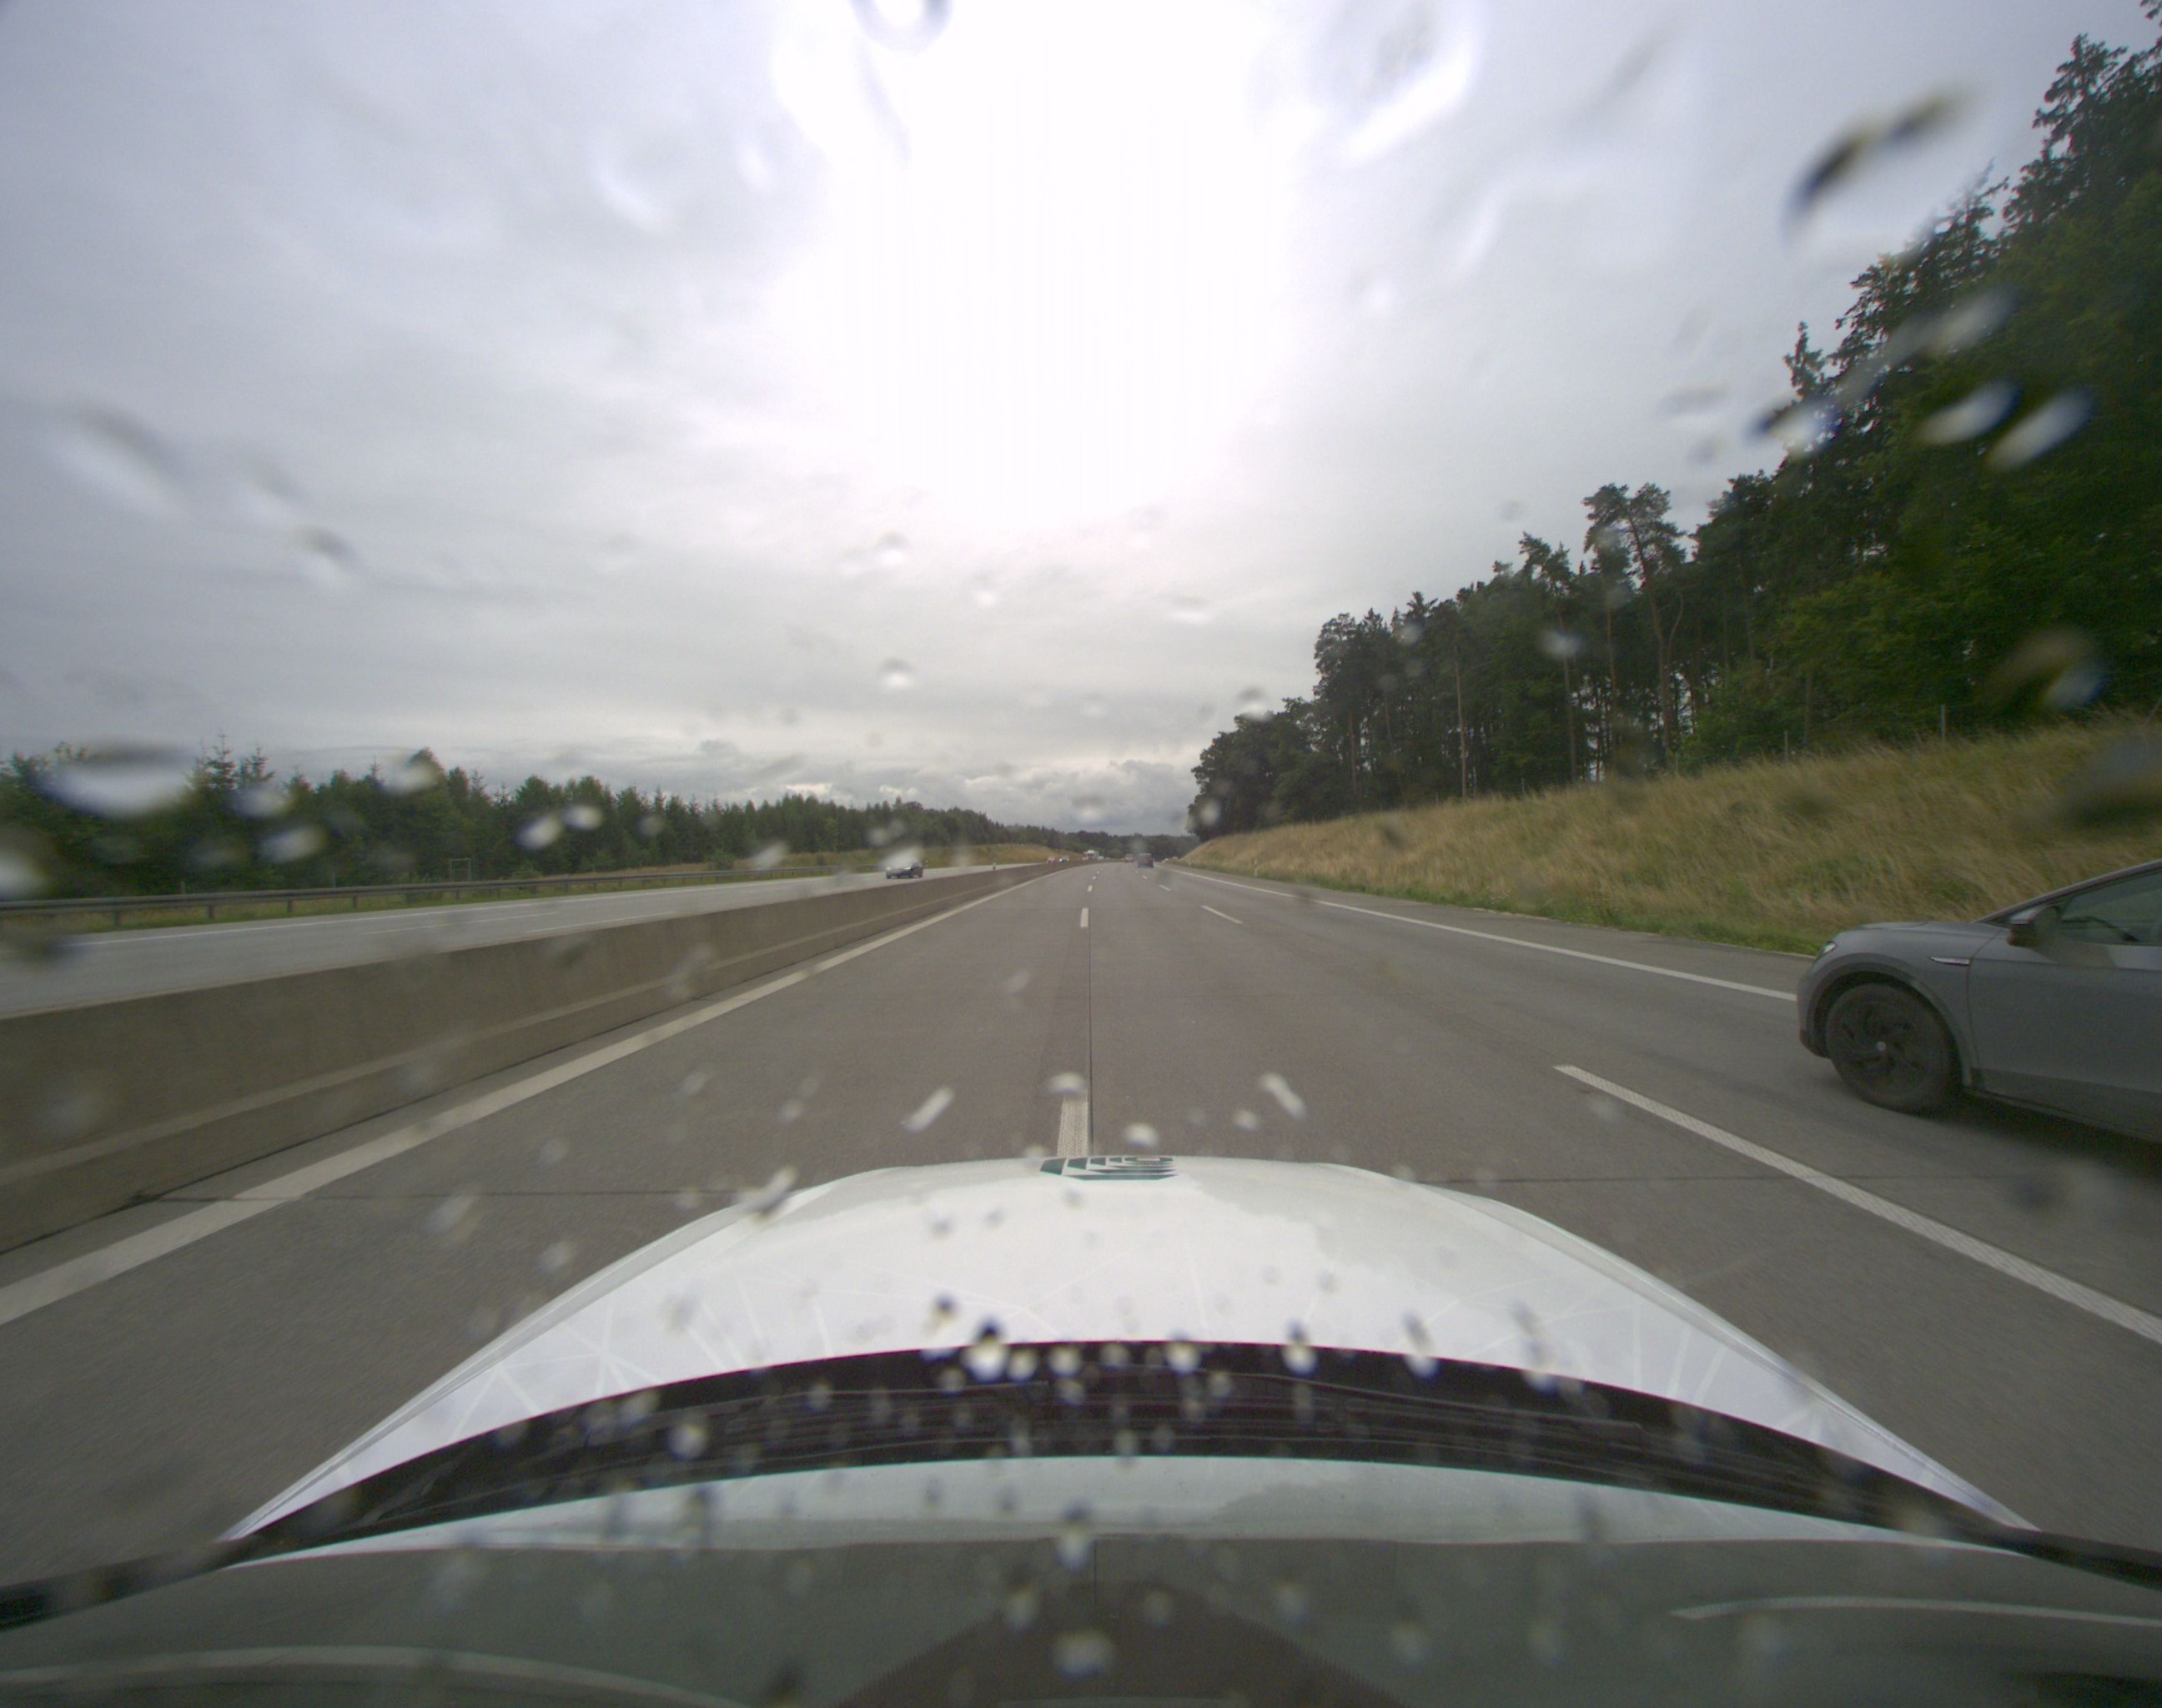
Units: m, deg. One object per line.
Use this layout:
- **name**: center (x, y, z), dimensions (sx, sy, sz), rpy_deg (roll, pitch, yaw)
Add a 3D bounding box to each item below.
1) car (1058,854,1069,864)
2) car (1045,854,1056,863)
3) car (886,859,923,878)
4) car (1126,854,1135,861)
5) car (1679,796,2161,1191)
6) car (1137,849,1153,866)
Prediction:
- **car**: center (-3.449, 0.971, 160.530), dimensions (1.942, 1.617, 4.003), rpy_deg (-4, 1, 2)
- **car**: center (-6.503, 0.992, 172.664), dimensions (1.942, 1.617, 4.003), rpy_deg (-4, 1, 2)
- **car**: center (-12.478, 1.029, 57.796), dimensions (1.762, 1.232, 3.955), rpy_deg (0, 1, 0)
- **car**: center (11.673, 0.891, 193.164), dimensions (1.835, 1.500, 4.001), rpy_deg (-4, 1, 1)
- **car**: center (5.558, 0.585, 3.694), dimensions (1.891, 1.689, 5.266), rpy_deg (-1, 1, 0)
- **car**: center (7.727, 0.416, 98.936), dimensions (1.778, 1.746, 3.918), rpy_deg (-4, 1, 3)
